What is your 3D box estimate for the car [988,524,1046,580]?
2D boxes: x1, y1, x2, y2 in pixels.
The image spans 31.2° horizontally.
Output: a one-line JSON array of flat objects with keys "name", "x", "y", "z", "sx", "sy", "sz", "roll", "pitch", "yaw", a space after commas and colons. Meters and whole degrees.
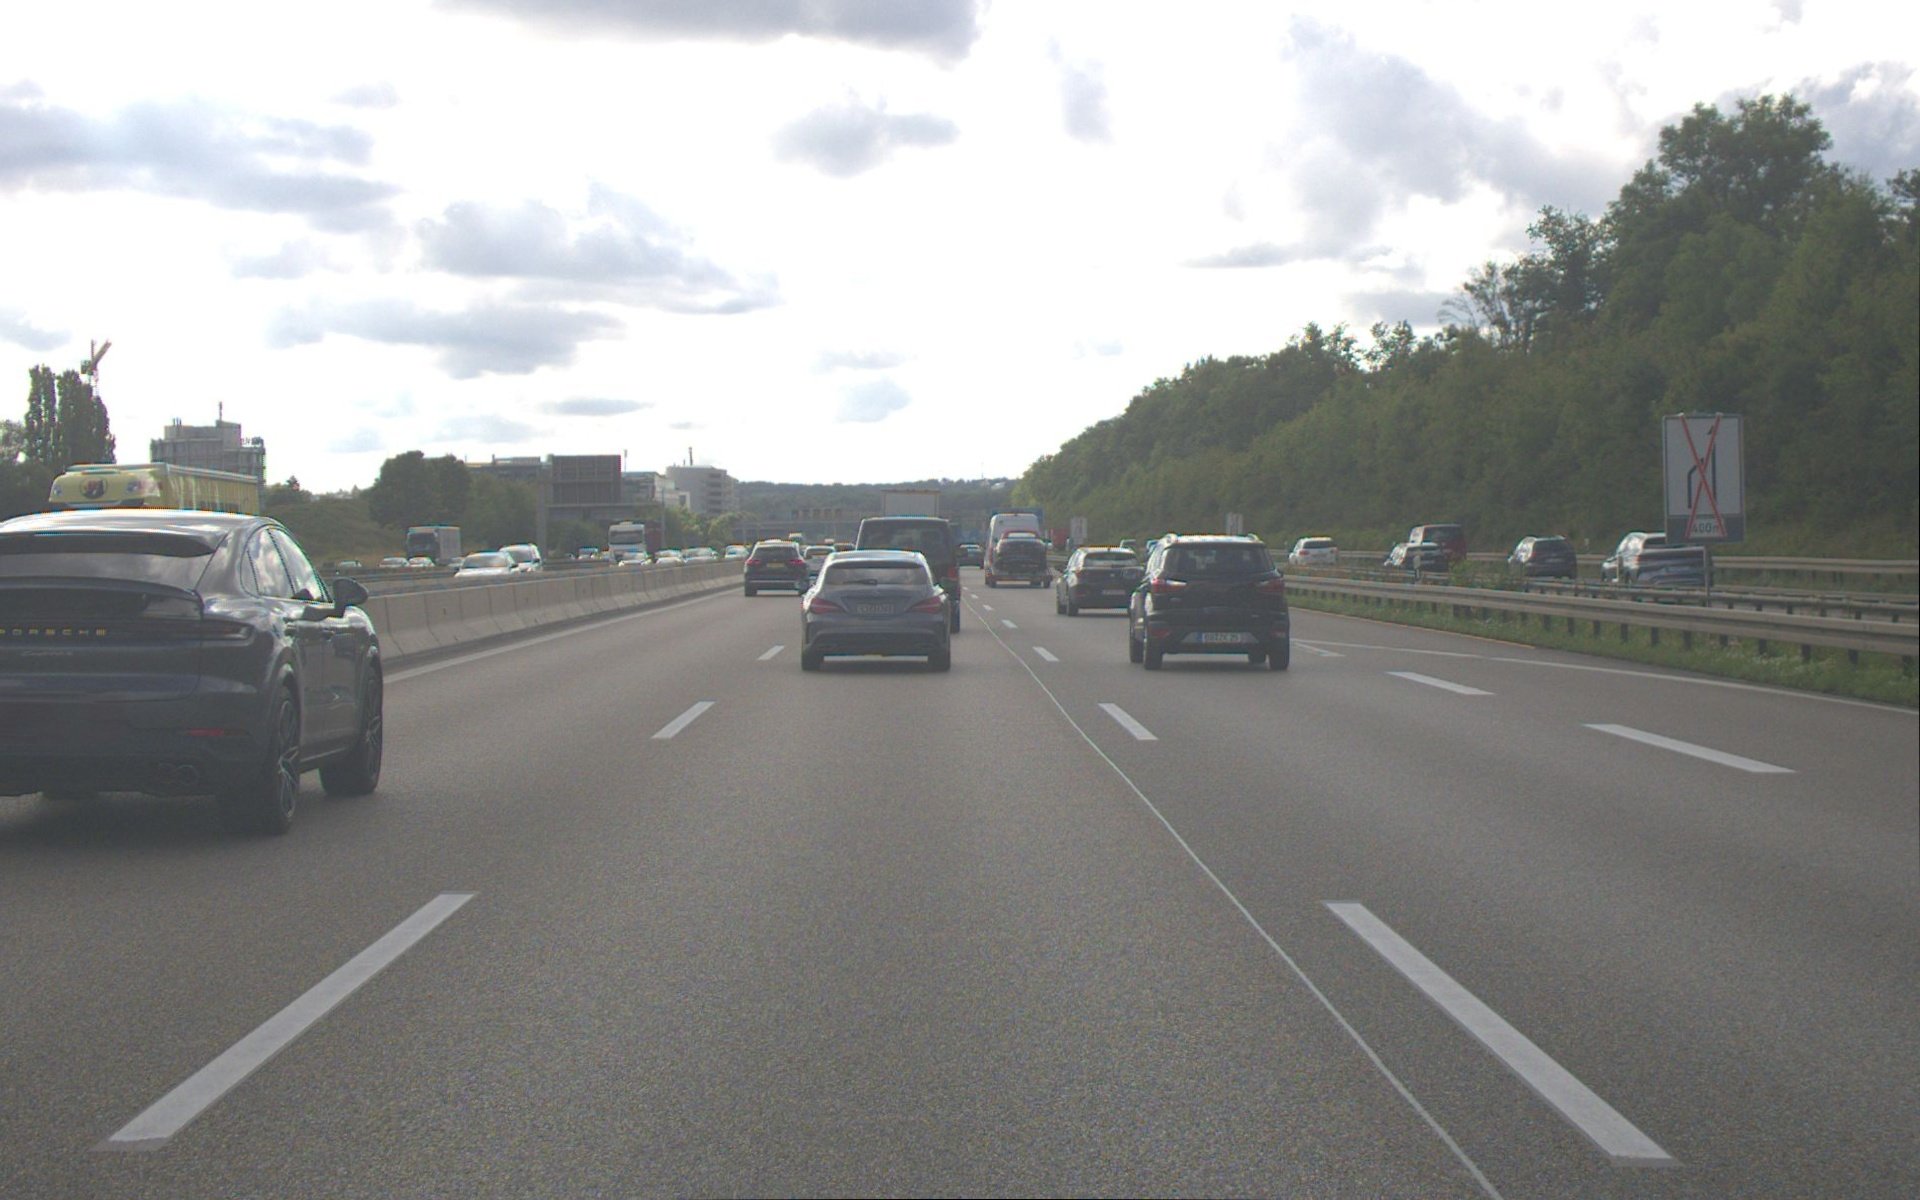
[{"name": "car", "x": 1.996, "y": -1.703, "z": 120.993, "sx": 1.913, "sy": 1.912, "sz": 4.031, "roll": 0, "pitch": 1, "yaw": -1}]

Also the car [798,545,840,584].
[{"name": "car", "x": -5.912, "y": -1.486, "z": 144.502, "sx": 1.697, "sy": 1.605, "sz": 4.114, "roll": 0, "pitch": 1, "yaw": -2}]

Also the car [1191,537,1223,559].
[{"name": "car", "x": 17.208, "y": -3.619, "z": 239.719, "sx": 1.752, "sy": 1.511, "sz": 4.191, "roll": 0, "pitch": 1, "yaw": -2}]

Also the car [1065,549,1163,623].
[{"name": "car", "x": 3.259, "y": -0.327, "z": 73.381, "sx": 1.832, "sy": 1.516, "sz": 4.225, "roll": 0, "pitch": 1, "yaw": -1}]

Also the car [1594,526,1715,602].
[{"name": "car", "x": 16.122, "y": -0.857, "z": 79.983, "sx": 1.846, "sy": 1.644, "sz": 4.306, "roll": -2, "pitch": 1, "yaw": -1}]

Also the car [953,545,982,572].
[{"name": "car", "x": 0.456, "y": -2.591, "z": 215.833, "sx": 1.752, "sy": 1.689, "sz": 4.190, "roll": 0, "pitch": 1, "yaw": -1}]

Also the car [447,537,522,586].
[{"name": "car", "x": -14.243, "y": -1.166, "z": 103.186, "sx": 1.666, "sy": 1.397, "sz": 4.534, "roll": -1, "pitch": 1, "yaw": -1}]

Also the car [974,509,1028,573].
[{"name": "car", "x": 1.511, "y": -2.209, "z": 127.885, "sx": 1.873, "sy": 2.349, "sz": 4.282, "roll": 0, "pitch": 1, "yaw": -1}]

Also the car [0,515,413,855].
[{"name": "car", "x": -4.404, "y": 0.353, "z": 19.210, "sx": 1.912, "sy": 1.630, "sz": 5.501, "roll": 0, "pitch": 1, "yaw": -1}]

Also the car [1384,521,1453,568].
[{"name": "car", "x": 15.305, "y": -1.862, "z": 114.985, "sx": 1.595, "sy": 1.540, "sz": 4.191, "roll": 0, "pitch": 1, "yaw": -2}]

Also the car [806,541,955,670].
[{"name": "car", "x": -0.955, "y": 0.026, "z": 41.766, "sx": 1.720, "sy": 1.474, "sz": 4.392, "roll": 0, "pitch": 1, "yaw": -1}]

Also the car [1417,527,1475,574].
[{"name": "car", "x": 19.085, "y": -1.953, "z": 135.113, "sx": 1.595, "sy": 1.797, "sz": 3.825, "roll": 0, "pitch": 1, "yaw": -2}]

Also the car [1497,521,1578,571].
[{"name": "car", "x": 18.923, "y": -1.786, "z": 112.749, "sx": 1.728, "sy": 1.540, "sz": 4.306, "roll": -2, "pitch": 1, "yaw": -2}]

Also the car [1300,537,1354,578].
[{"name": "car", "x": 15.486, "y": -1.814, "z": 145.089, "sx": 1.752, "sy": 1.689, "sz": 4.190, "roll": 0, "pitch": 1, "yaw": -1}]

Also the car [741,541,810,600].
[{"name": "car", "x": -5.396, "y": -0.887, "z": 100.794, "sx": 1.873, "sy": 1.692, "sz": 4.072, "roll": 0, "pitch": 1, "yaw": -1}]

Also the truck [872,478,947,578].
[{"name": "truck", "x": -2.317, "y": -3.267, "z": 157.221, "sx": 3.263, "sy": 4.360, "sz": 11.027, "roll": 1, "pitch": 1, "yaw": -1}]

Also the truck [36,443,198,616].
[{"name": "truck", "x": -21.749, "y": -1.817, "z": 88.936, "sx": 2.896, "sy": 4.308, "sz": 5.162, "roll": -1, "pitch": 1, "yaw": -1}]

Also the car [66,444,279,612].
[{"name": "car", "x": -21.835, "y": -2.015, "z": 96.306, "sx": 2.905, "sy": 4.310, "sz": 14.147, "roll": -1, "pitch": 1, "yaw": -1}]

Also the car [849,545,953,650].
[{"name": "car", "x": -1.018, "y": -0.077, "z": 59.251, "sx": 1.720, "sy": 1.718, "sz": 4.392, "roll": 0, "pitch": 1, "yaw": -1}]

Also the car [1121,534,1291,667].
[{"name": "car", "x": 2.991, "y": -0.036, "z": 42.511, "sx": 1.697, "sy": 1.559, "sz": 4.114, "roll": 0, "pitch": 1, "yaw": -2}]

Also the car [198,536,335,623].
[{"name": "car", "x": -13.064, "y": -0.405, "z": 64.954, "sx": 1.776, "sy": 1.566, "sz": 4.181, "roll": 1, "pitch": 1, "yaw": -1}]
